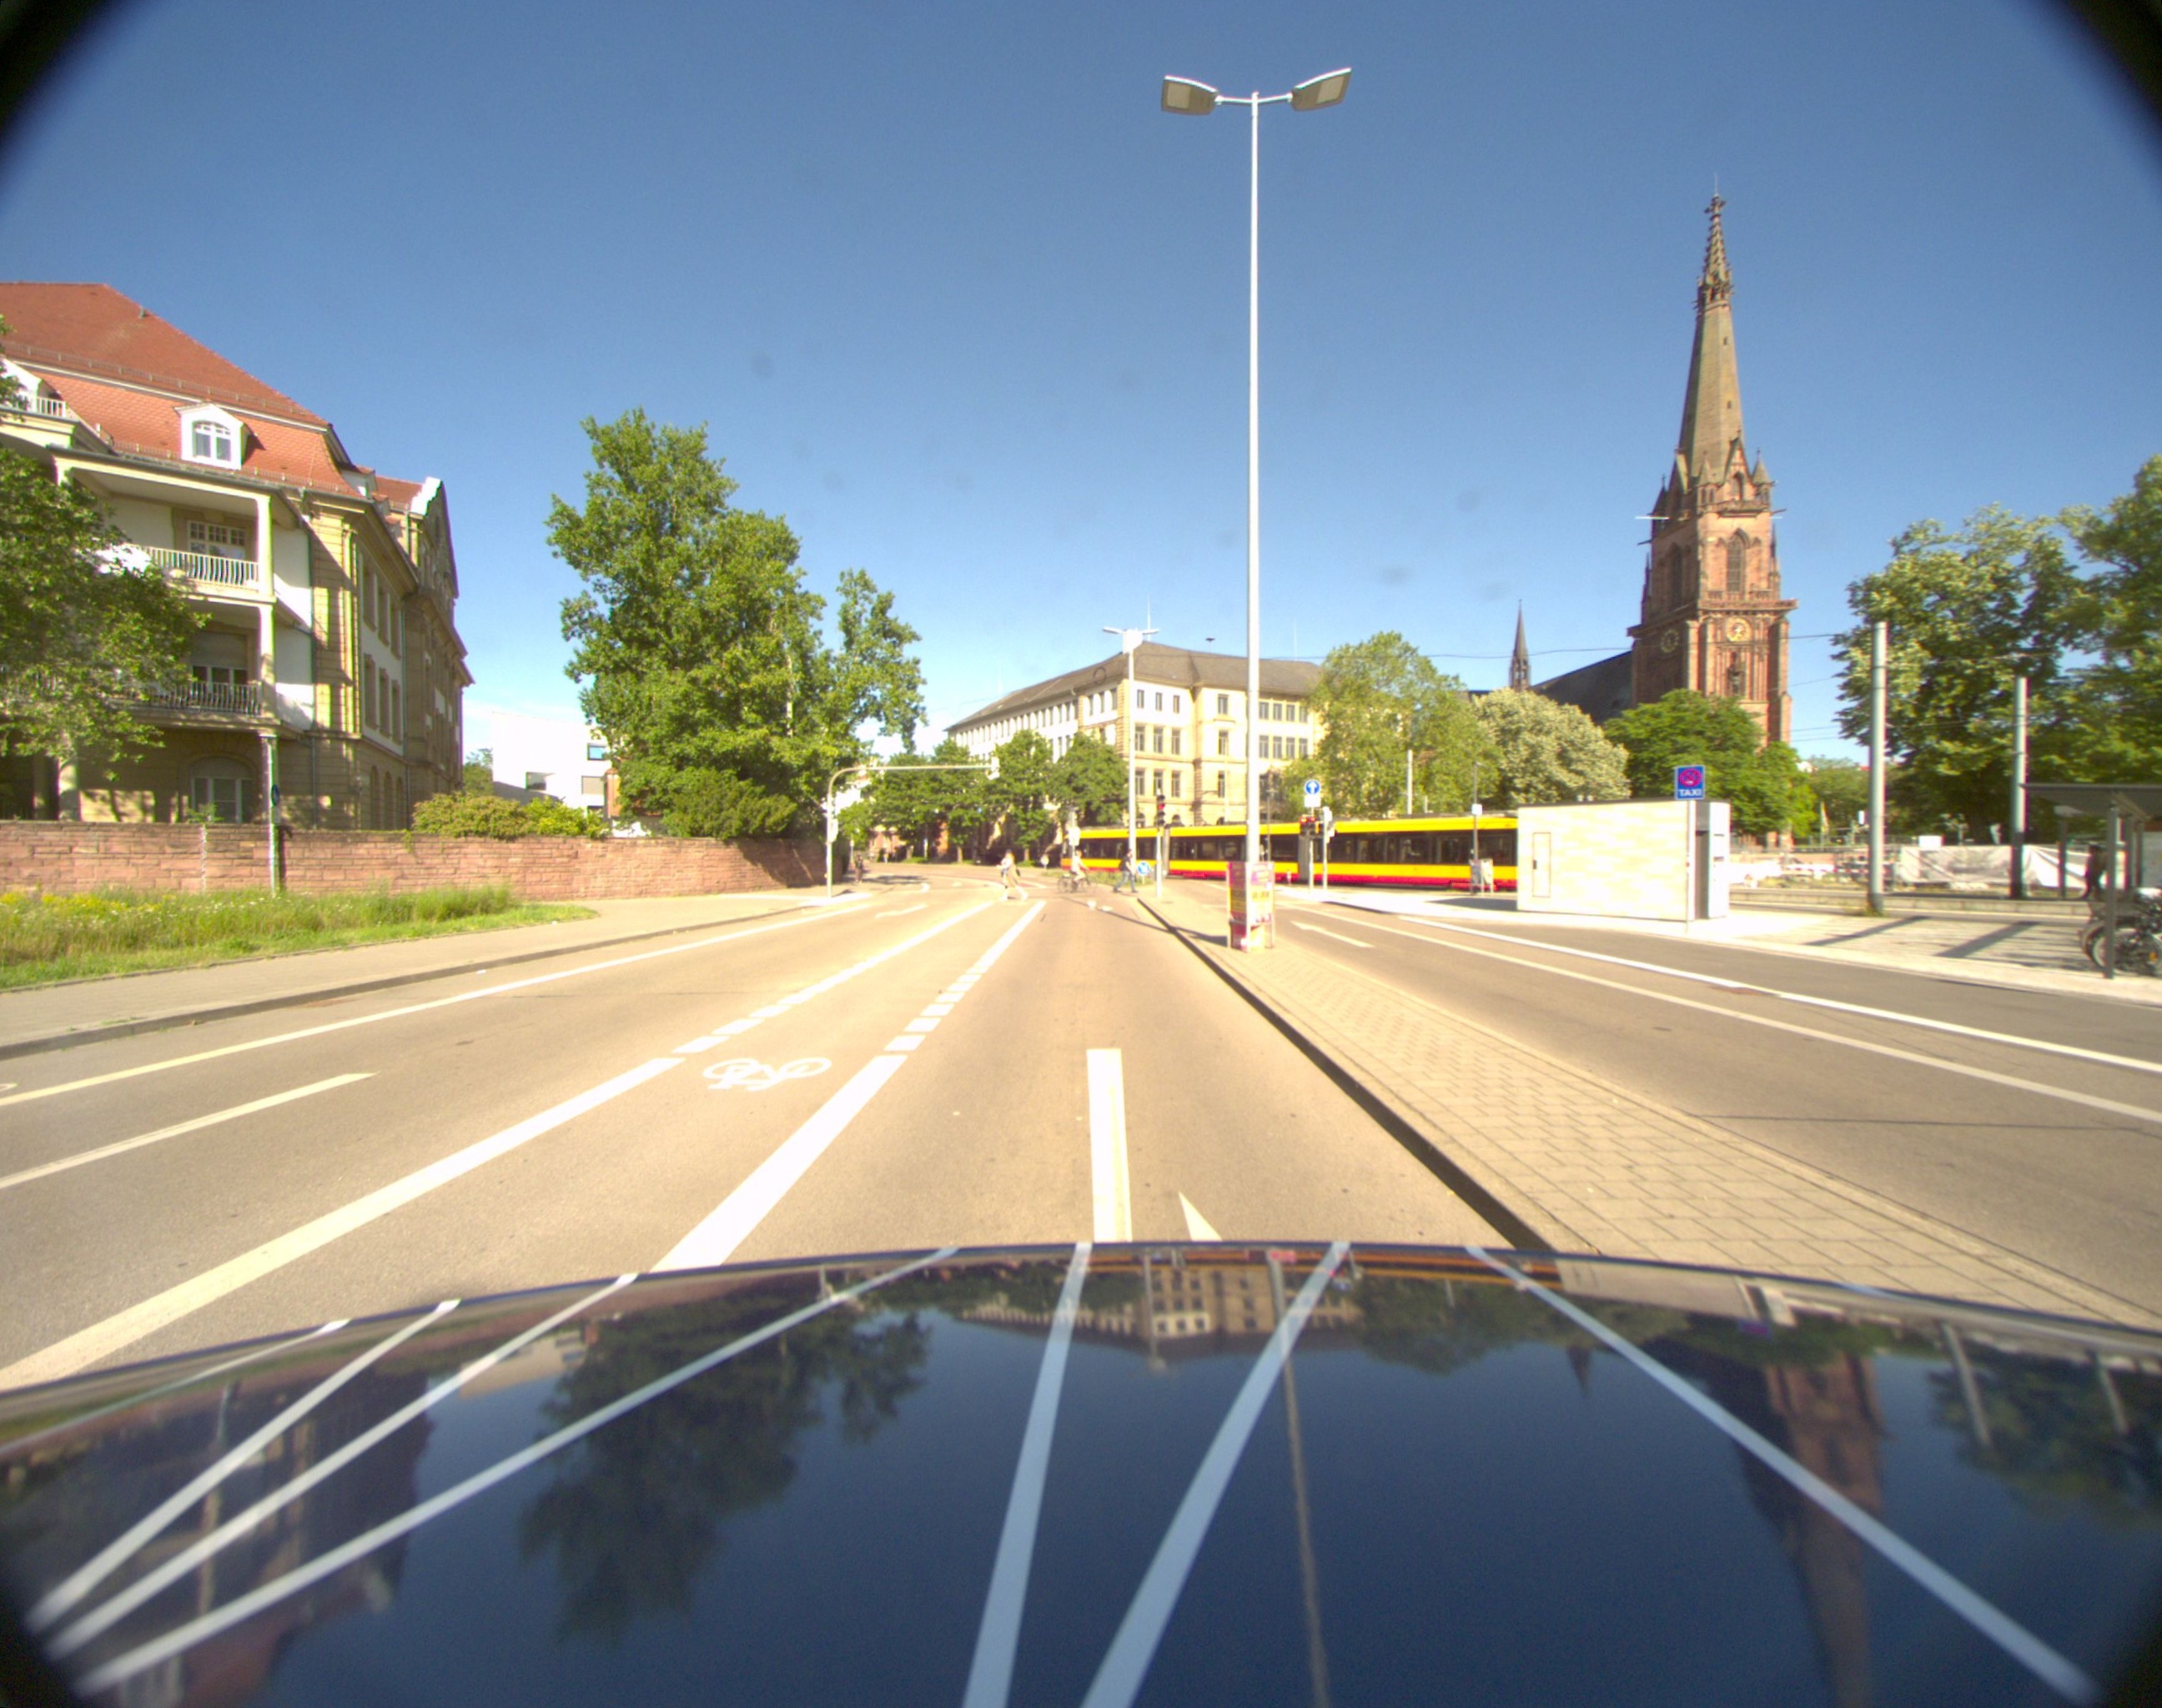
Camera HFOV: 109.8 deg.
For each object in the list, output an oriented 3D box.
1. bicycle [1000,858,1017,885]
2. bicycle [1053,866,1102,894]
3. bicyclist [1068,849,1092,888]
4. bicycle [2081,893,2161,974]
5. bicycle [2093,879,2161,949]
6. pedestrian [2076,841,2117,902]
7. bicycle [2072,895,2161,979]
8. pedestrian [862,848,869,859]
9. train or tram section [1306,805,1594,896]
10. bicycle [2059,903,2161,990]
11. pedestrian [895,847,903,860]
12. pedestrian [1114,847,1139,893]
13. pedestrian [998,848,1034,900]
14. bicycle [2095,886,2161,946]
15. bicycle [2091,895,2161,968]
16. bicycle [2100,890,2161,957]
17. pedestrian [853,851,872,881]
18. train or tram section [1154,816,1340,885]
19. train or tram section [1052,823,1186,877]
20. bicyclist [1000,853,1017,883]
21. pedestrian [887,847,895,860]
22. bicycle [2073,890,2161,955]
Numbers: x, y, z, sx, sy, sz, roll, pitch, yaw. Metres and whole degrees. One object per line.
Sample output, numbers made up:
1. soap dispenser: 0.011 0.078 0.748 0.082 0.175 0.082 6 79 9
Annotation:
1. bicycle: -3.924 0.904 40.952 0.762 1.360 2.736 0 1 -8
2. bicycle: -0.139 1.062 31.780 1.886 1.064 0.723 -2 1 -19
3. bicyclist: -0.043 0.592 31.801 0.778 1.596 0.721 -1 1 -18
4. bicycle: 15.144 1.113 10.325 0.574 1.045 1.826 -1 1 -32
5. bicycle: 18.949 1.044 13.046 0.630 1.173 1.826 -1 1 -32
6. pedestrian: 30.932 0.522 23.156 0.606 1.845 0.679 -1 1 -42
7. bicycle: 14.674 1.127 10.059 0.630 1.059 1.826 -1 1 -32
8. pedestrian: -35.228 -0.074 124.014 0.759 1.802 0.978 -1 1 -38
9. train or tram section: 16.452 -0.181 35.572 2.838 3.580 12.294 -1 1 -35
10. bicycle: 13.936 1.204 9.589 0.702 1.002 1.863 -1 2 -32
11. pedestrian: -27.080 -0.082 113.114 0.979 1.801 0.758 -3 -2 8
12. pedestrian: 1.864 0.637 30.856 0.960 1.839 0.731 1 1 4
13. pedestrian: -2.369 0.708 27.609 1.230 1.845 0.827 0 1 -10
14. bicycle: 19.528 1.121 13.455 0.630 1.002 1.826 -1 1 -32
15. bicycle: 16.181 1.159 10.997 0.630 1.002 1.826 -1 1 -32
16. bicycle: 17.168 1.096 11.622 0.630 1.002 1.826 -1 1 -32
17. pedestrian: -12.776 0.712 44.459 0.940 1.711 0.994 0 1 -12
18. train or tram section: 9.474 -0.228 45.686 2.806 3.580 12.294 -1 1 -35
19. train or tram section: 2.397 -0.295 55.890 2.806 3.580 12.504 -1 1 -35
20. bicyclist: -3.930 0.755 41.085 0.870 1.551 1.279 0 1 -8
21. pedestrian: -27.890 -0.100 111.681 0.759 1.802 0.977 -1 1 -40
22. bicycle: 17.815 1.134 12.458 0.630 1.002 1.826 -1 1 -32
